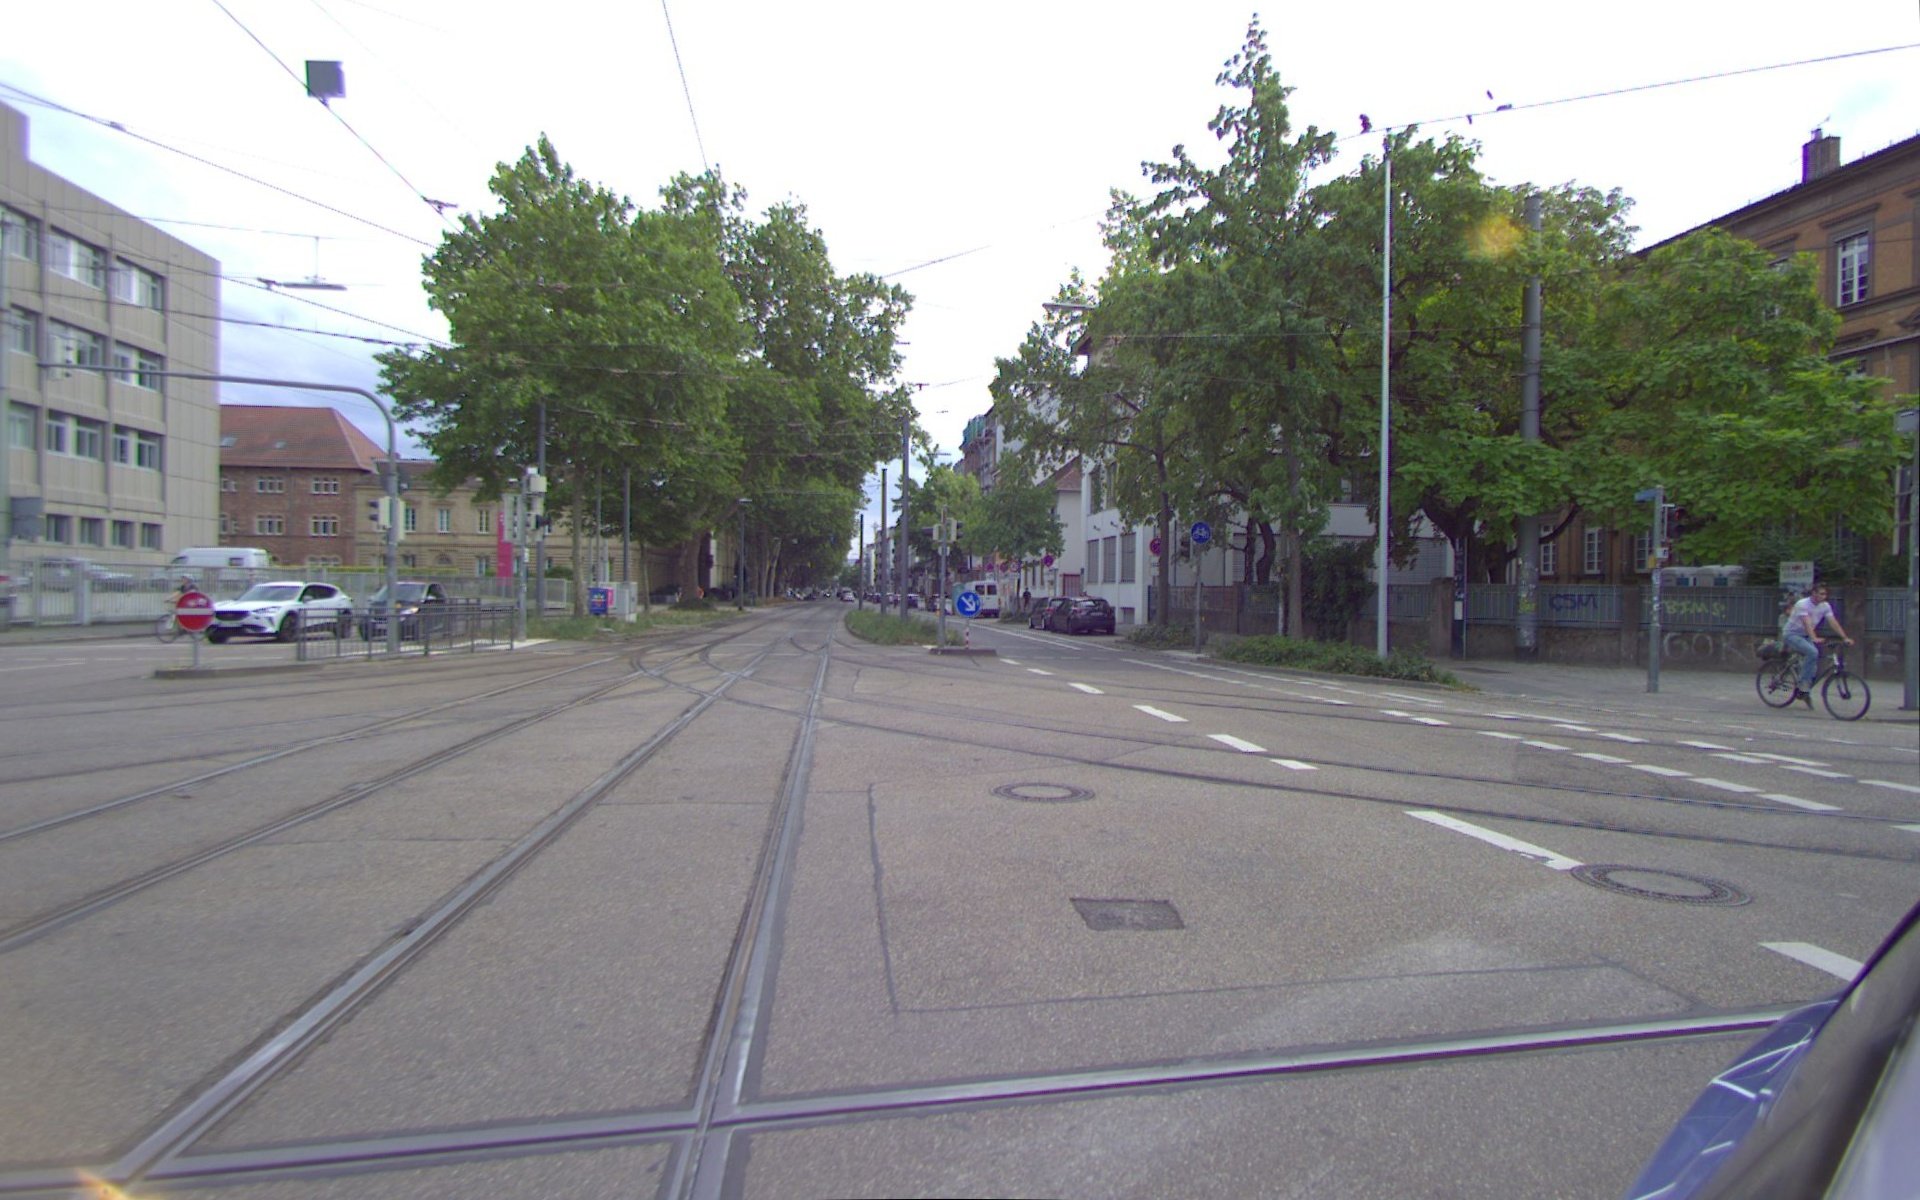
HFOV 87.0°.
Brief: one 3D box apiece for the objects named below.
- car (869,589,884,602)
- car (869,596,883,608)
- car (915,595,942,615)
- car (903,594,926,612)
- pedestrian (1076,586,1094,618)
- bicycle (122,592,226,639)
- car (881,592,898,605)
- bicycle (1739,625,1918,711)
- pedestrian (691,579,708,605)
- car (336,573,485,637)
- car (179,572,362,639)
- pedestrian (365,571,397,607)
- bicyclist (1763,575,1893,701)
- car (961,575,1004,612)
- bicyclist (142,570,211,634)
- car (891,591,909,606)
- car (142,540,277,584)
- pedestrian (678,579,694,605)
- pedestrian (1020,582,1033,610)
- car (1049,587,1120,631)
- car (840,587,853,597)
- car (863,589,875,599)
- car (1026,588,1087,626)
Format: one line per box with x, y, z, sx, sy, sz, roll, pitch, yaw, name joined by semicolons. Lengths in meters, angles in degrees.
-12.684;-0.744;152.704;2.055;1.889;4.427;1;1;-7;car
-13.933;0.239;167.963;2.055;1.889;4.426;1;1;-7;car
-2.968;0.455;95.015;2.055;1.830;4.427;1;1;-8;car
-4.819;0.262;106.965;2.055;1.830;4.427;1;1;-8;car
6.569;0.098;53.219;0.753;1.671;0.767;1;1;-5;pedestrian
-19.903;0.364;25.721;0.787;1.100;2.564;1;1;-4;bicycle
-9.968;-0.255;143.131;2.055;1.830;4.427;1;1;-8;car
12.730;0.960;14.926;0.736;1.100;2.019;1;1;-7;bicycle
-19.113;-0.587;74.229;0.821;1.888;1.251;1;0;3;pedestrian
-14.676;0.093;27.339;1.801;1.586;4.423;1;1;-3;car
-17.361;0.097;25.774;1.960;1.523;4.426;1;1;-5;car
-25.704;-0.493;44.929;0.867;1.589;0.980;1;1;-1;pedestrian
12.734;0.527;14.891;0.733;1.783;1.254;1;1;-7;bicyclist
1.391;-0.425;64.397;2.055;2.217;4.427;1;1;-8;car
-19.892;0.036;25.716;0.787;1.569;1.330;1;1;-4;bicyclist
-7.824;-0.209;131.319;2.055;1.830;4.427;1;1;-8;car
-43.704;-2.195;59.080;5.777;2.429;2.573;1;0;-10;car
-20.107;-0.568;74.243;0.821;1.888;1.175;1;0;3;pedestrian
4.336;-0.256;66.062;0.753;1.803;0.767;1;1;-6;pedestrian
4.813;0.306;39.770;1.701;1.581;4.427;1;1;-8;car
-18.523;-1.338;165.589;1.809;1.510;3.754;0;0;-11;car
-17.563;-1.191;194.360;2.055;1.889;4.427;1;1;-8;car
4.197;0.271;44.759;1.724;1.555;4.427;1;1;-8;car
